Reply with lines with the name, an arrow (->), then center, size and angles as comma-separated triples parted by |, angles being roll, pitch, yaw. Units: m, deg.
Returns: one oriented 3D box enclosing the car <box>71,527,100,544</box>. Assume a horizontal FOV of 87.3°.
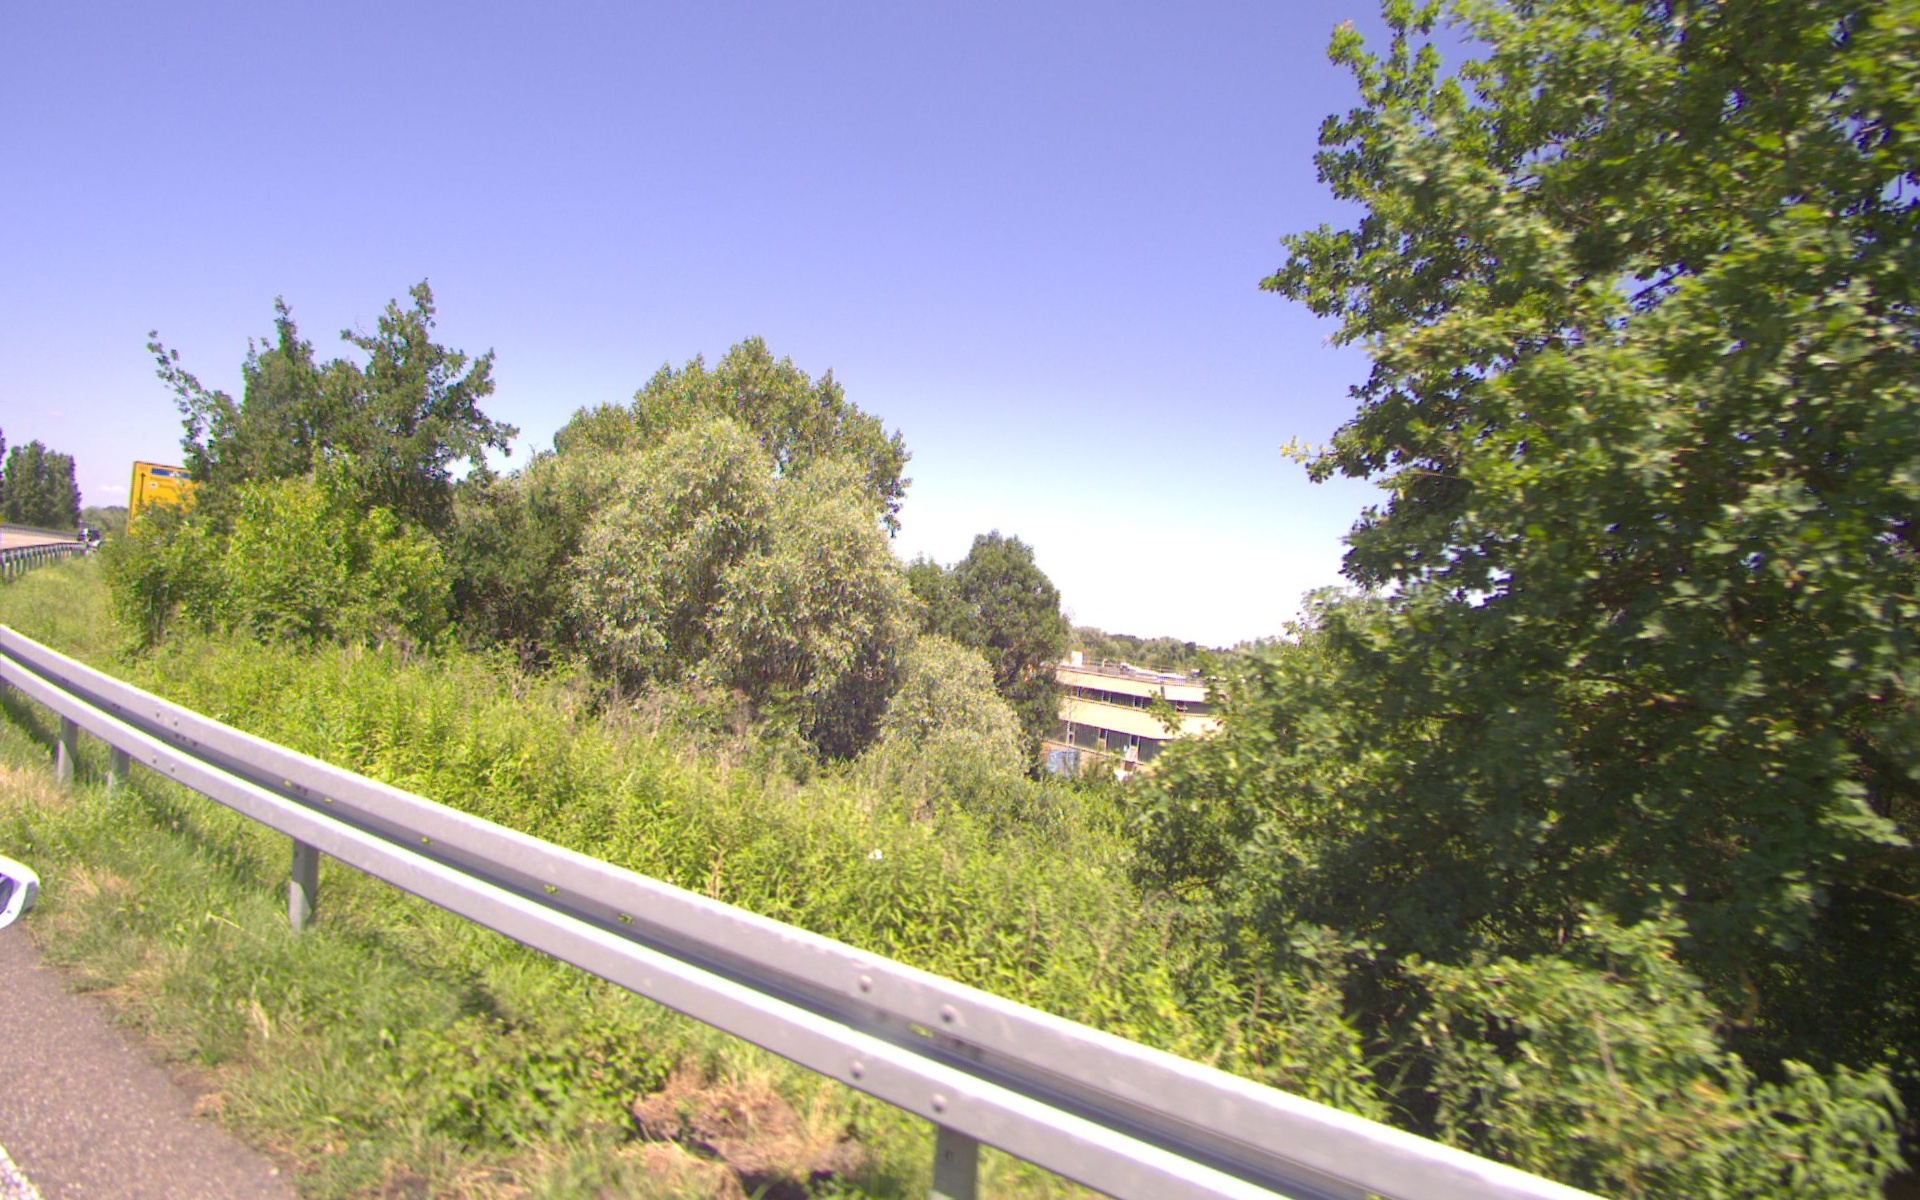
car -> -98.029, -7.236, 112.756 | 1.934, 1.480, 3.962 | 10, -3, -36
